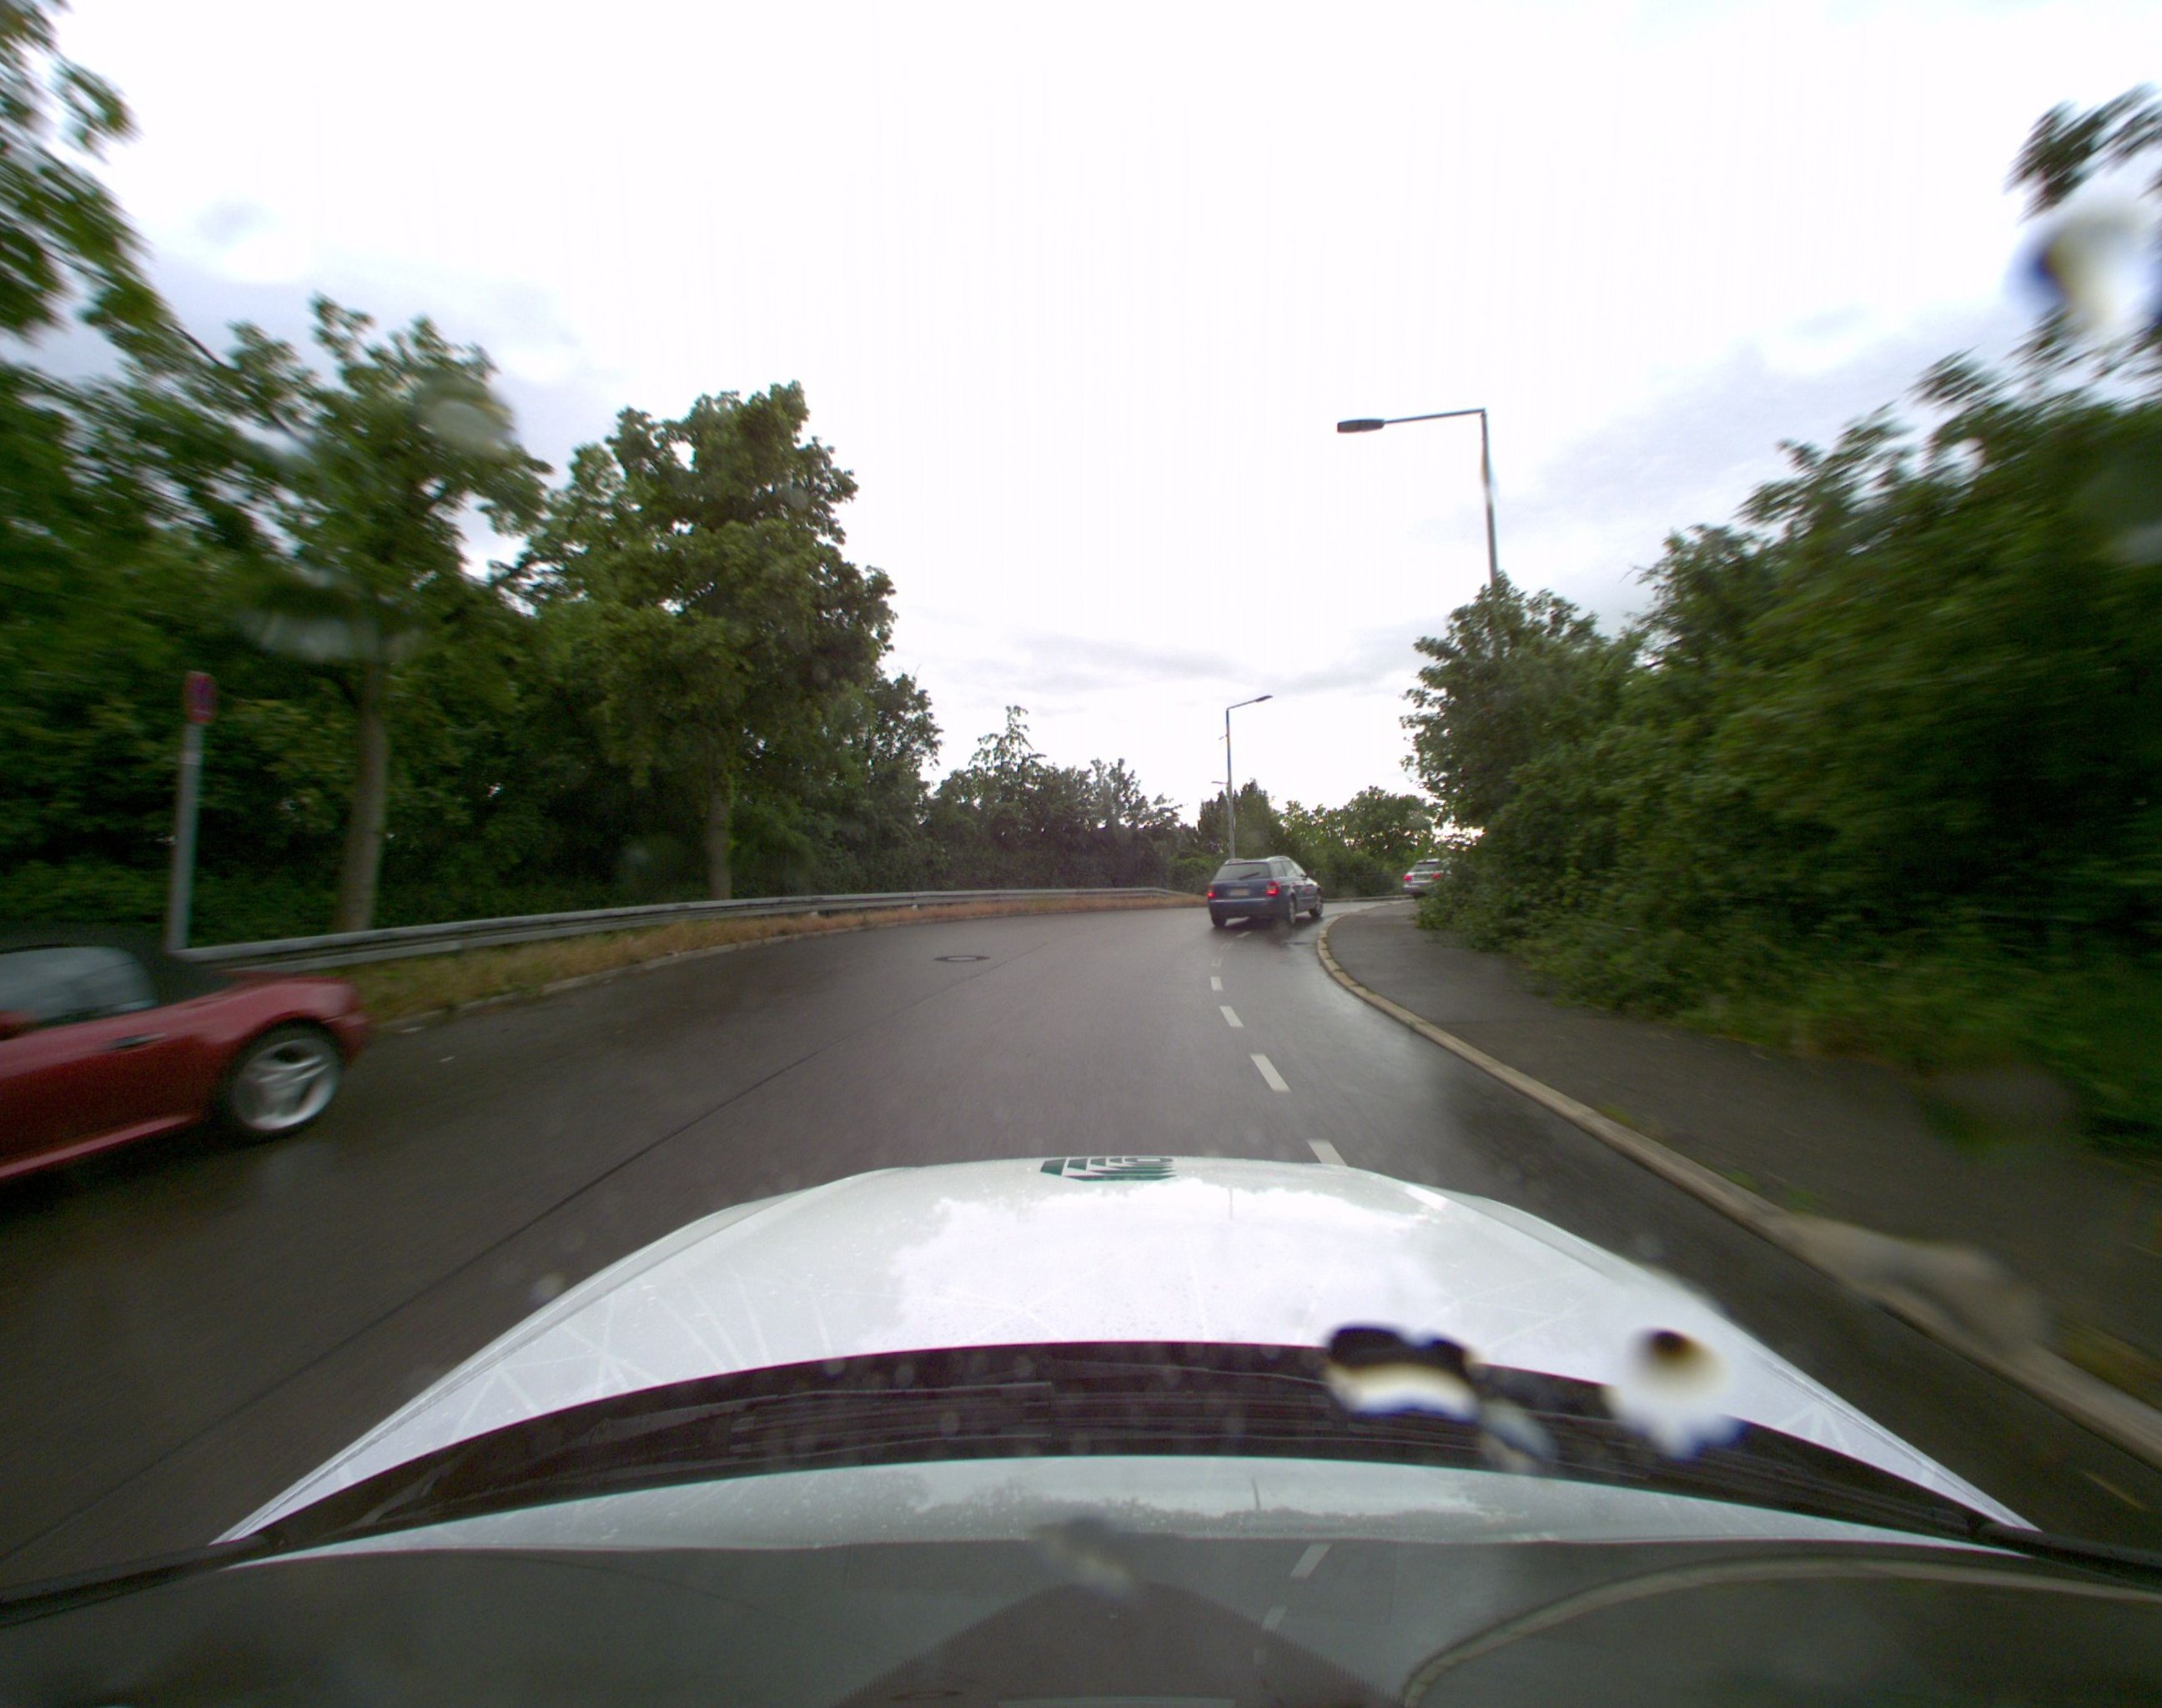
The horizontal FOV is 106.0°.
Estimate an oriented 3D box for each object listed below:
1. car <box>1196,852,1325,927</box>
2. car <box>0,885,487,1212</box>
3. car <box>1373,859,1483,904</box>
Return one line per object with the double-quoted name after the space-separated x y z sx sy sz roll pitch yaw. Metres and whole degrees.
4.129 0.730 18.209 1.730 1.407 4.025 -3 0 28 "car"
-5.387 0.876 3.806 1.781 1.297 4.331 -2 -1 5 "car"
11.910 0.909 27.871 4.021 1.389 1.874 0 -1 -41 "car"
